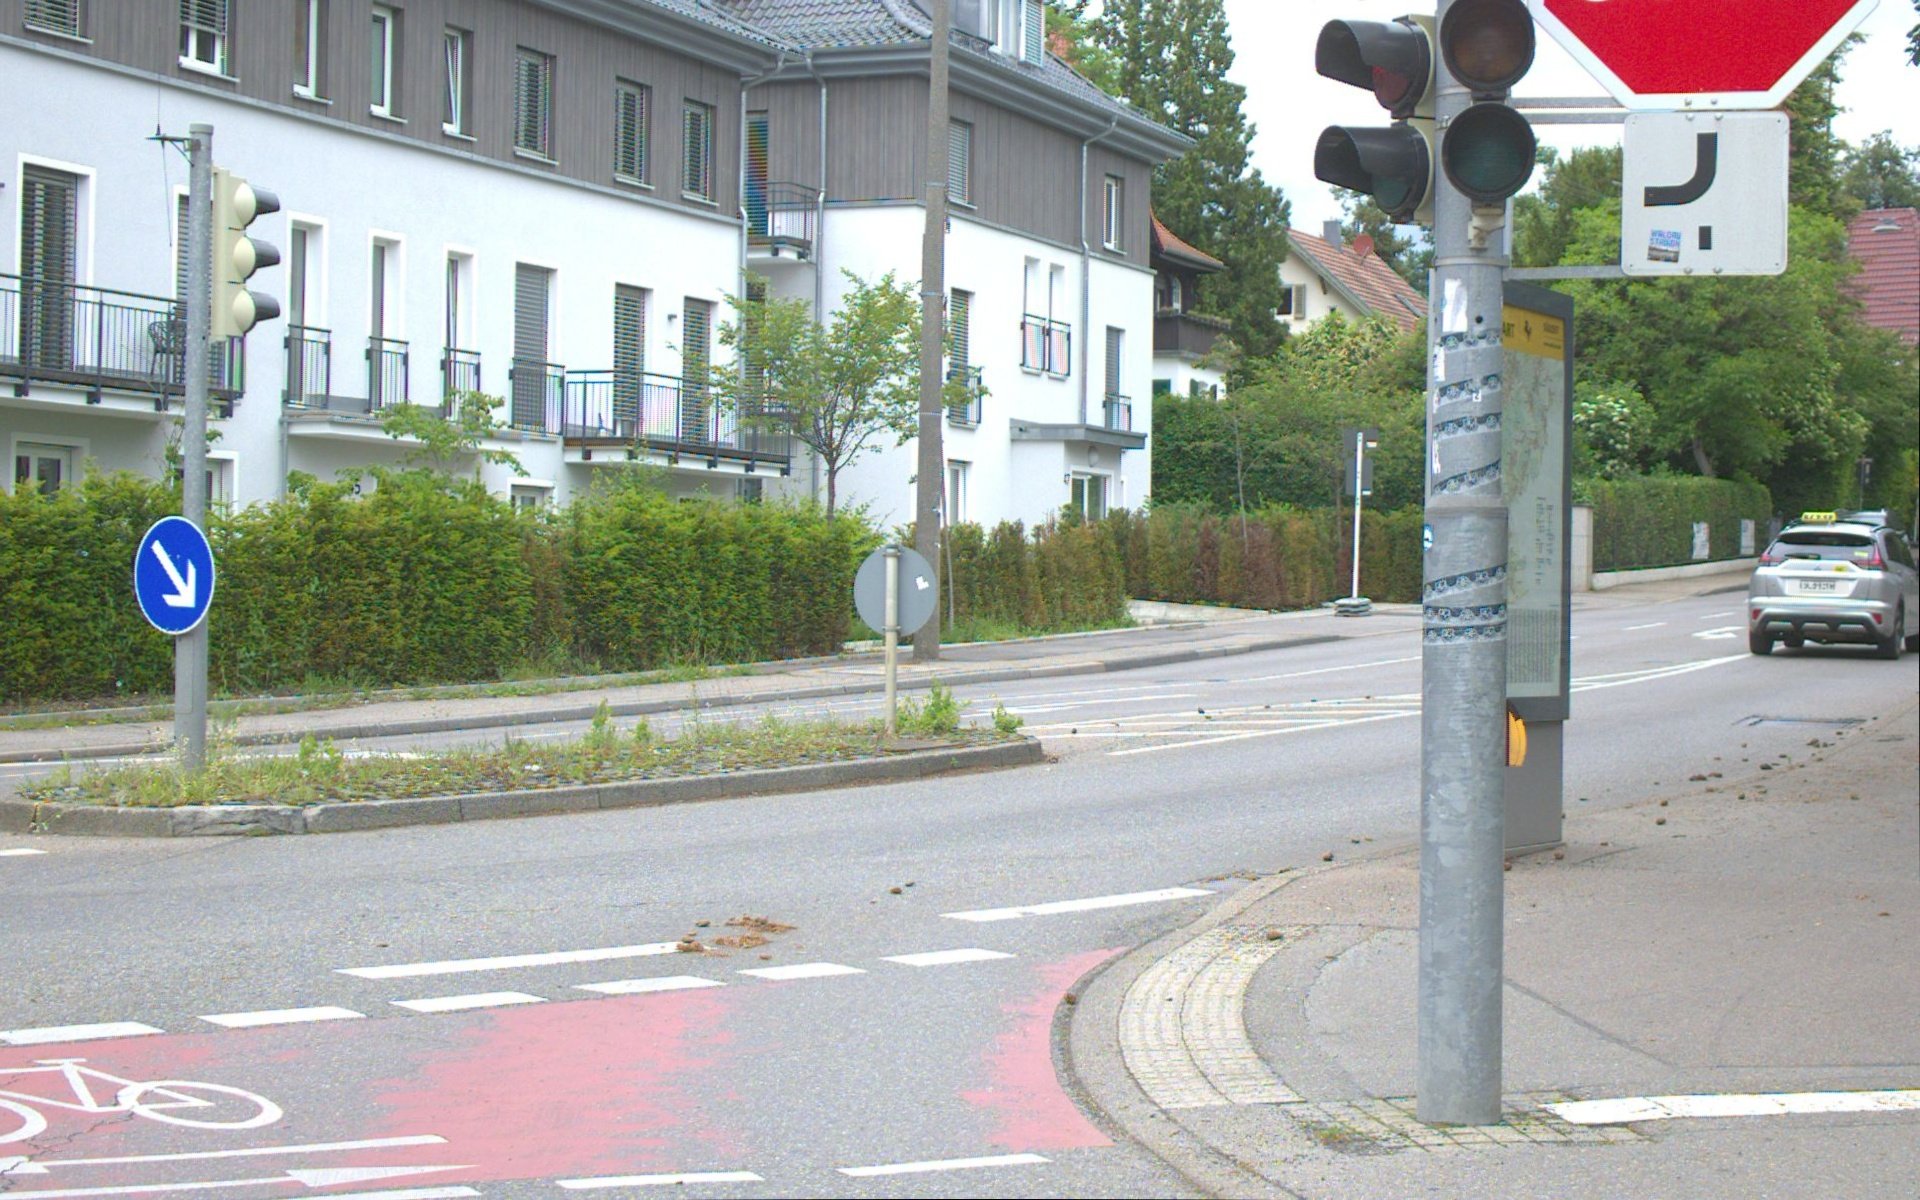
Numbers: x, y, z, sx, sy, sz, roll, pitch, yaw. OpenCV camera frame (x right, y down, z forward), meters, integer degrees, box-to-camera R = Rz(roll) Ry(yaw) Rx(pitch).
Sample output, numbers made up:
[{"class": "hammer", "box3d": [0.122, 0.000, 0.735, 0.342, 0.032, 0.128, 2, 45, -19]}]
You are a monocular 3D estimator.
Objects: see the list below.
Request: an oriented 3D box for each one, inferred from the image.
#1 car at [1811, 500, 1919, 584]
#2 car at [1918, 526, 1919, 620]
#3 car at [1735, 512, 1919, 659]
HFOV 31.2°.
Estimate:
[{"class": "car", "box3d": [21.346, -1.348, 80.834, 1.914, 1.874, 5.136, -1, 0, 22]}, {"class": "car", "box3d": [17.173, -0.492, 57.352, 1.802, 1.522, 4.738, 0, 1, 22]}, {"class": "car", "box3d": [11.055, -0.215, 43.156, 1.809, 1.747, 4.482, 0, 1, 23]}]
